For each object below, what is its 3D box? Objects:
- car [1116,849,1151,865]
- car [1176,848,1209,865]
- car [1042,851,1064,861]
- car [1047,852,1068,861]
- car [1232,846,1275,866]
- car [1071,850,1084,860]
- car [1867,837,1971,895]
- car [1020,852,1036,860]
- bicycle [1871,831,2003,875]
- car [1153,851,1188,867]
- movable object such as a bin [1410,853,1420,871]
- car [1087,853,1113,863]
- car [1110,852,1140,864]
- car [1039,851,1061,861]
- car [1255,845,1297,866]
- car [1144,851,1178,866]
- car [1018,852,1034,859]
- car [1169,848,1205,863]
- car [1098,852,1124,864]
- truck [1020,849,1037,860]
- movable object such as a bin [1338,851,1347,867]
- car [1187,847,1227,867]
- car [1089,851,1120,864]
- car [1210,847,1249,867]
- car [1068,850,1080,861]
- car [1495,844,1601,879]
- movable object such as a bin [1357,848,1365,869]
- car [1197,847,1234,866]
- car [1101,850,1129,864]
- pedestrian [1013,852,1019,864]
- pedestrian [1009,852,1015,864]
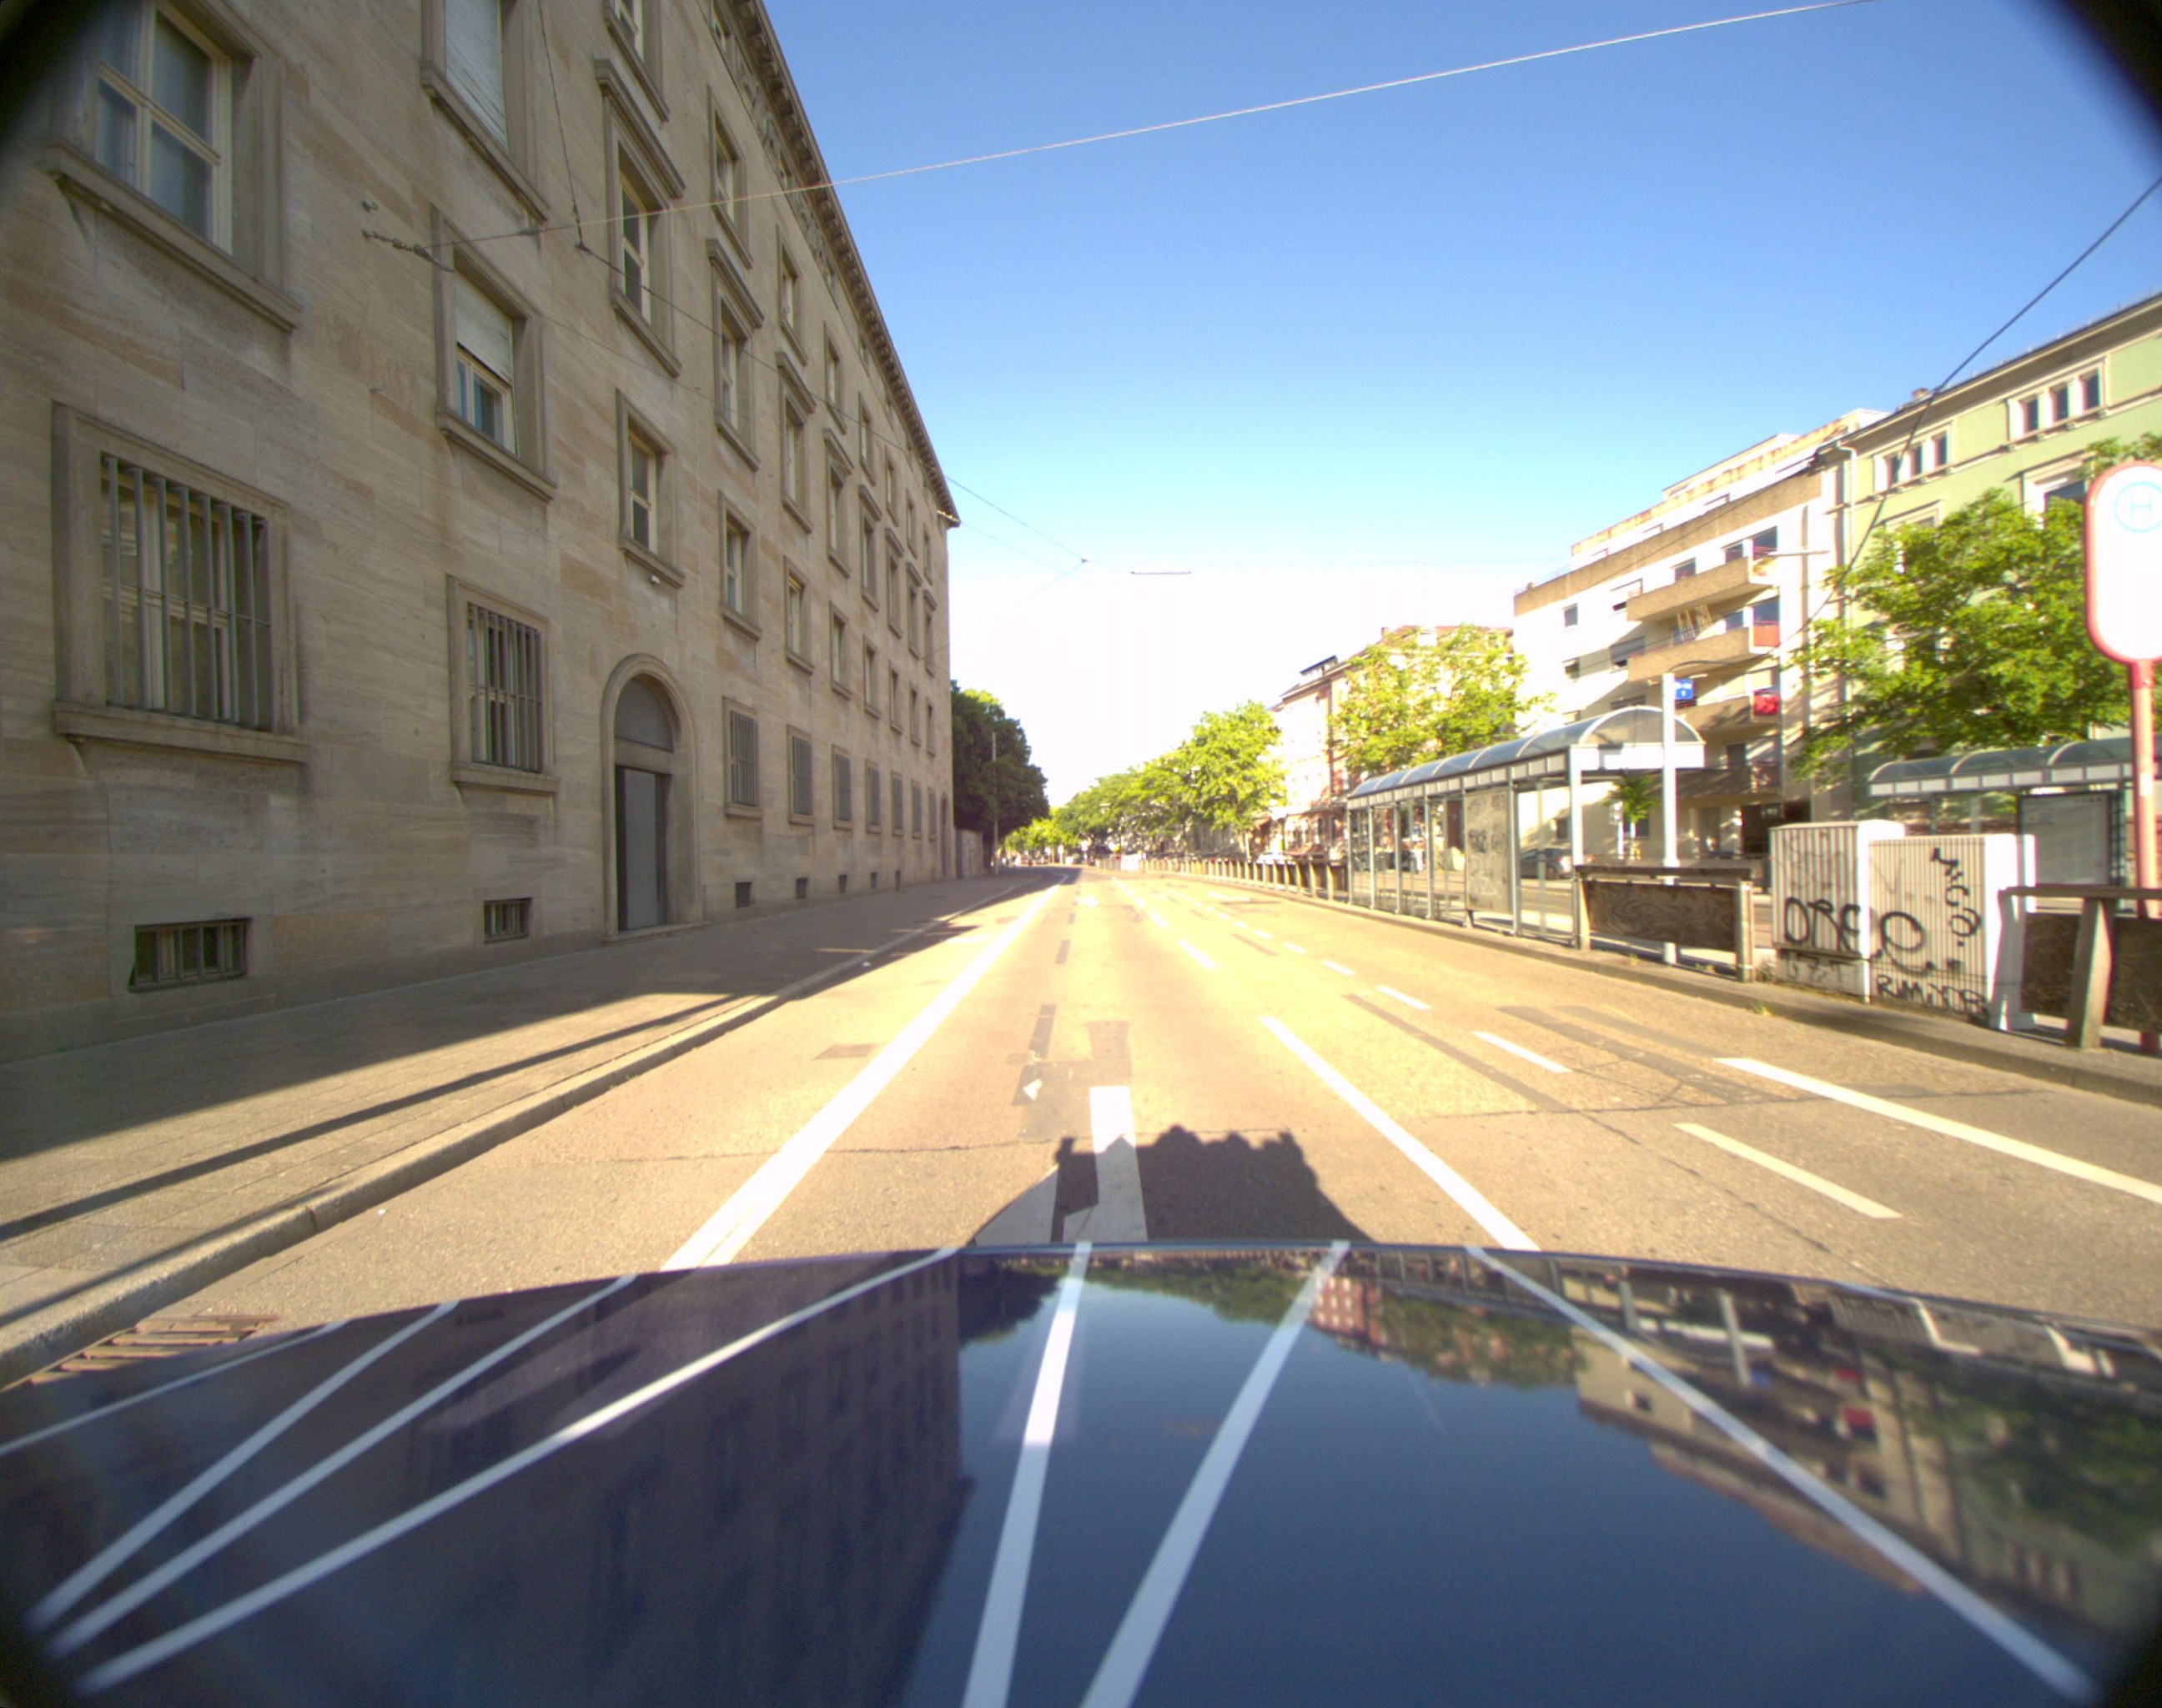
[{"bbox_3d":[6.533,0.419,94.286,4.208,1.788,1.781,-3,2,-41],"label":"car"},{"bbox_3d":[11.940,0.281,81.070,3.286,1.524,1.703,-6,2,-43],"label":"car"},{"bbox_3d":[-5.946,0.458,161.069,4.311,1.940,1.670,-4,1,-19],"label":"car"},{"bbox_3d":[-4.860,0.565,158.093,4.105,1.561,1.670,-4,1,-18],"label":"car"},{"bbox_3d":[15.221,0.144,66.869,3.929,1.499,1.685,-5,1,-43],"label":"car"},{"bbox_3d":[-0.640,0.143,141.877,1.673,1.886,3.211,-1,0,-12],"label":"car"},{"bbox_3d":[24.500,0.295,22.352,4.524,1.417,1.868,-4,2,-45],"label":"car"},{"bbox_3d":[-13.497,0.522,193.646,3.775,1.584,1.670,-4,1,-18],"label":"car"},{"bbox_3d":[29.101,-0.033,25.930,0.719,1.390,3.007,-1,0,-14],"label":"bicycle"},{"bbox_3d":[10.238,0.529,86.797,3.877,1.645,1.768,-4,2,-41],"label":"car"},{"bbox_3d":[21.453,0.520,48.776,0.380,1.090,0.552,-1,2,-6],"label":"movable object such as a bin"},{"bbox_3d":[3.070,0.633,120.265,4.007,1.478,1.777,-4,2,-44],"label":"car"},{"bbox_3d":[6.321,0.604,109.244,4.208,1.549,1.636,-4,1,-41],"label":"car"},{"bbox_3d":[-6.769,0.480,163.570,4.311,1.940,1.670,-4,1,-18],"label":"car"},{"bbox_3d":[16.384,0.120,63.638,1.731,1.513,3.923,-3,1,41],"label":"car"},{"bbox_3d":[9.504,0.539,90.388,3.877,1.645,1.768,-4,2,-41],"label":"car"},{"bbox_3d":[-14.238,0.436,196.904,3.775,1.584,1.670,-4,1,-18],"label":"car"},{"bbox_3d":[11.746,0.187,84.037,3.829,1.477,1.766,-4,2,-41],"label":"car"},{"bbox_3d":[4.534,0.651,114.697,1.744,1.511,3.772,-2,2,44],"label":"car"},{"bbox_3d":[-13.157,0.118,190.854,3.774,2.409,1.671,-4,1,-13],"label":"truck"},{"bbox_3d":[17.978,0.348,52.197,0.380,1.062,0.639,-1,1,0],"label":"movable object such as a bin"},{"bbox_3d":[12.855,0.268,77.561,4.293,1.713,1.703,-6,3,-43],"label":"car"},{"bbox_3d":[3.592,0.488,117.044,4.366,1.704,1.944,-4,2,-35],"label":"car"},{"bbox_3d":[13.984,0.258,71.405,1.630,1.607,3.993,-2,1,43],"label":"car"},{"bbox_3d":[-1.277,0.284,146.266,1.673,1.886,3.211,-1,0,-12],"label":"car"},{"bbox_3d":[20.866,0.309,34.193,1.711,1.402,4.289,-1,0,-8],"label":"car"},{"bbox_3d":[18.881,0.289,51.210,0.380,1.418,0.386,-1,1,0],"label":"movable object such as a bin"},{"bbox_3d":[13.155,0.239,74.123,1.630,1.607,3.993,-2,1,43],"label":"car"},{"bbox_3d":[5.026,0.465,111.991,4.208,1.714,1.780,-5,2,-44],"label":"car"},{"bbox_3d":[-8.989,0.575,105.132,0.872,1.710,0.804,-1,1,-3],"label":"pedestrian"},{"bbox_3d":[-9.551,0.567,105.660,0.831,1.710,0.804,-1,1,-6],"label":"pedestrian"}]
